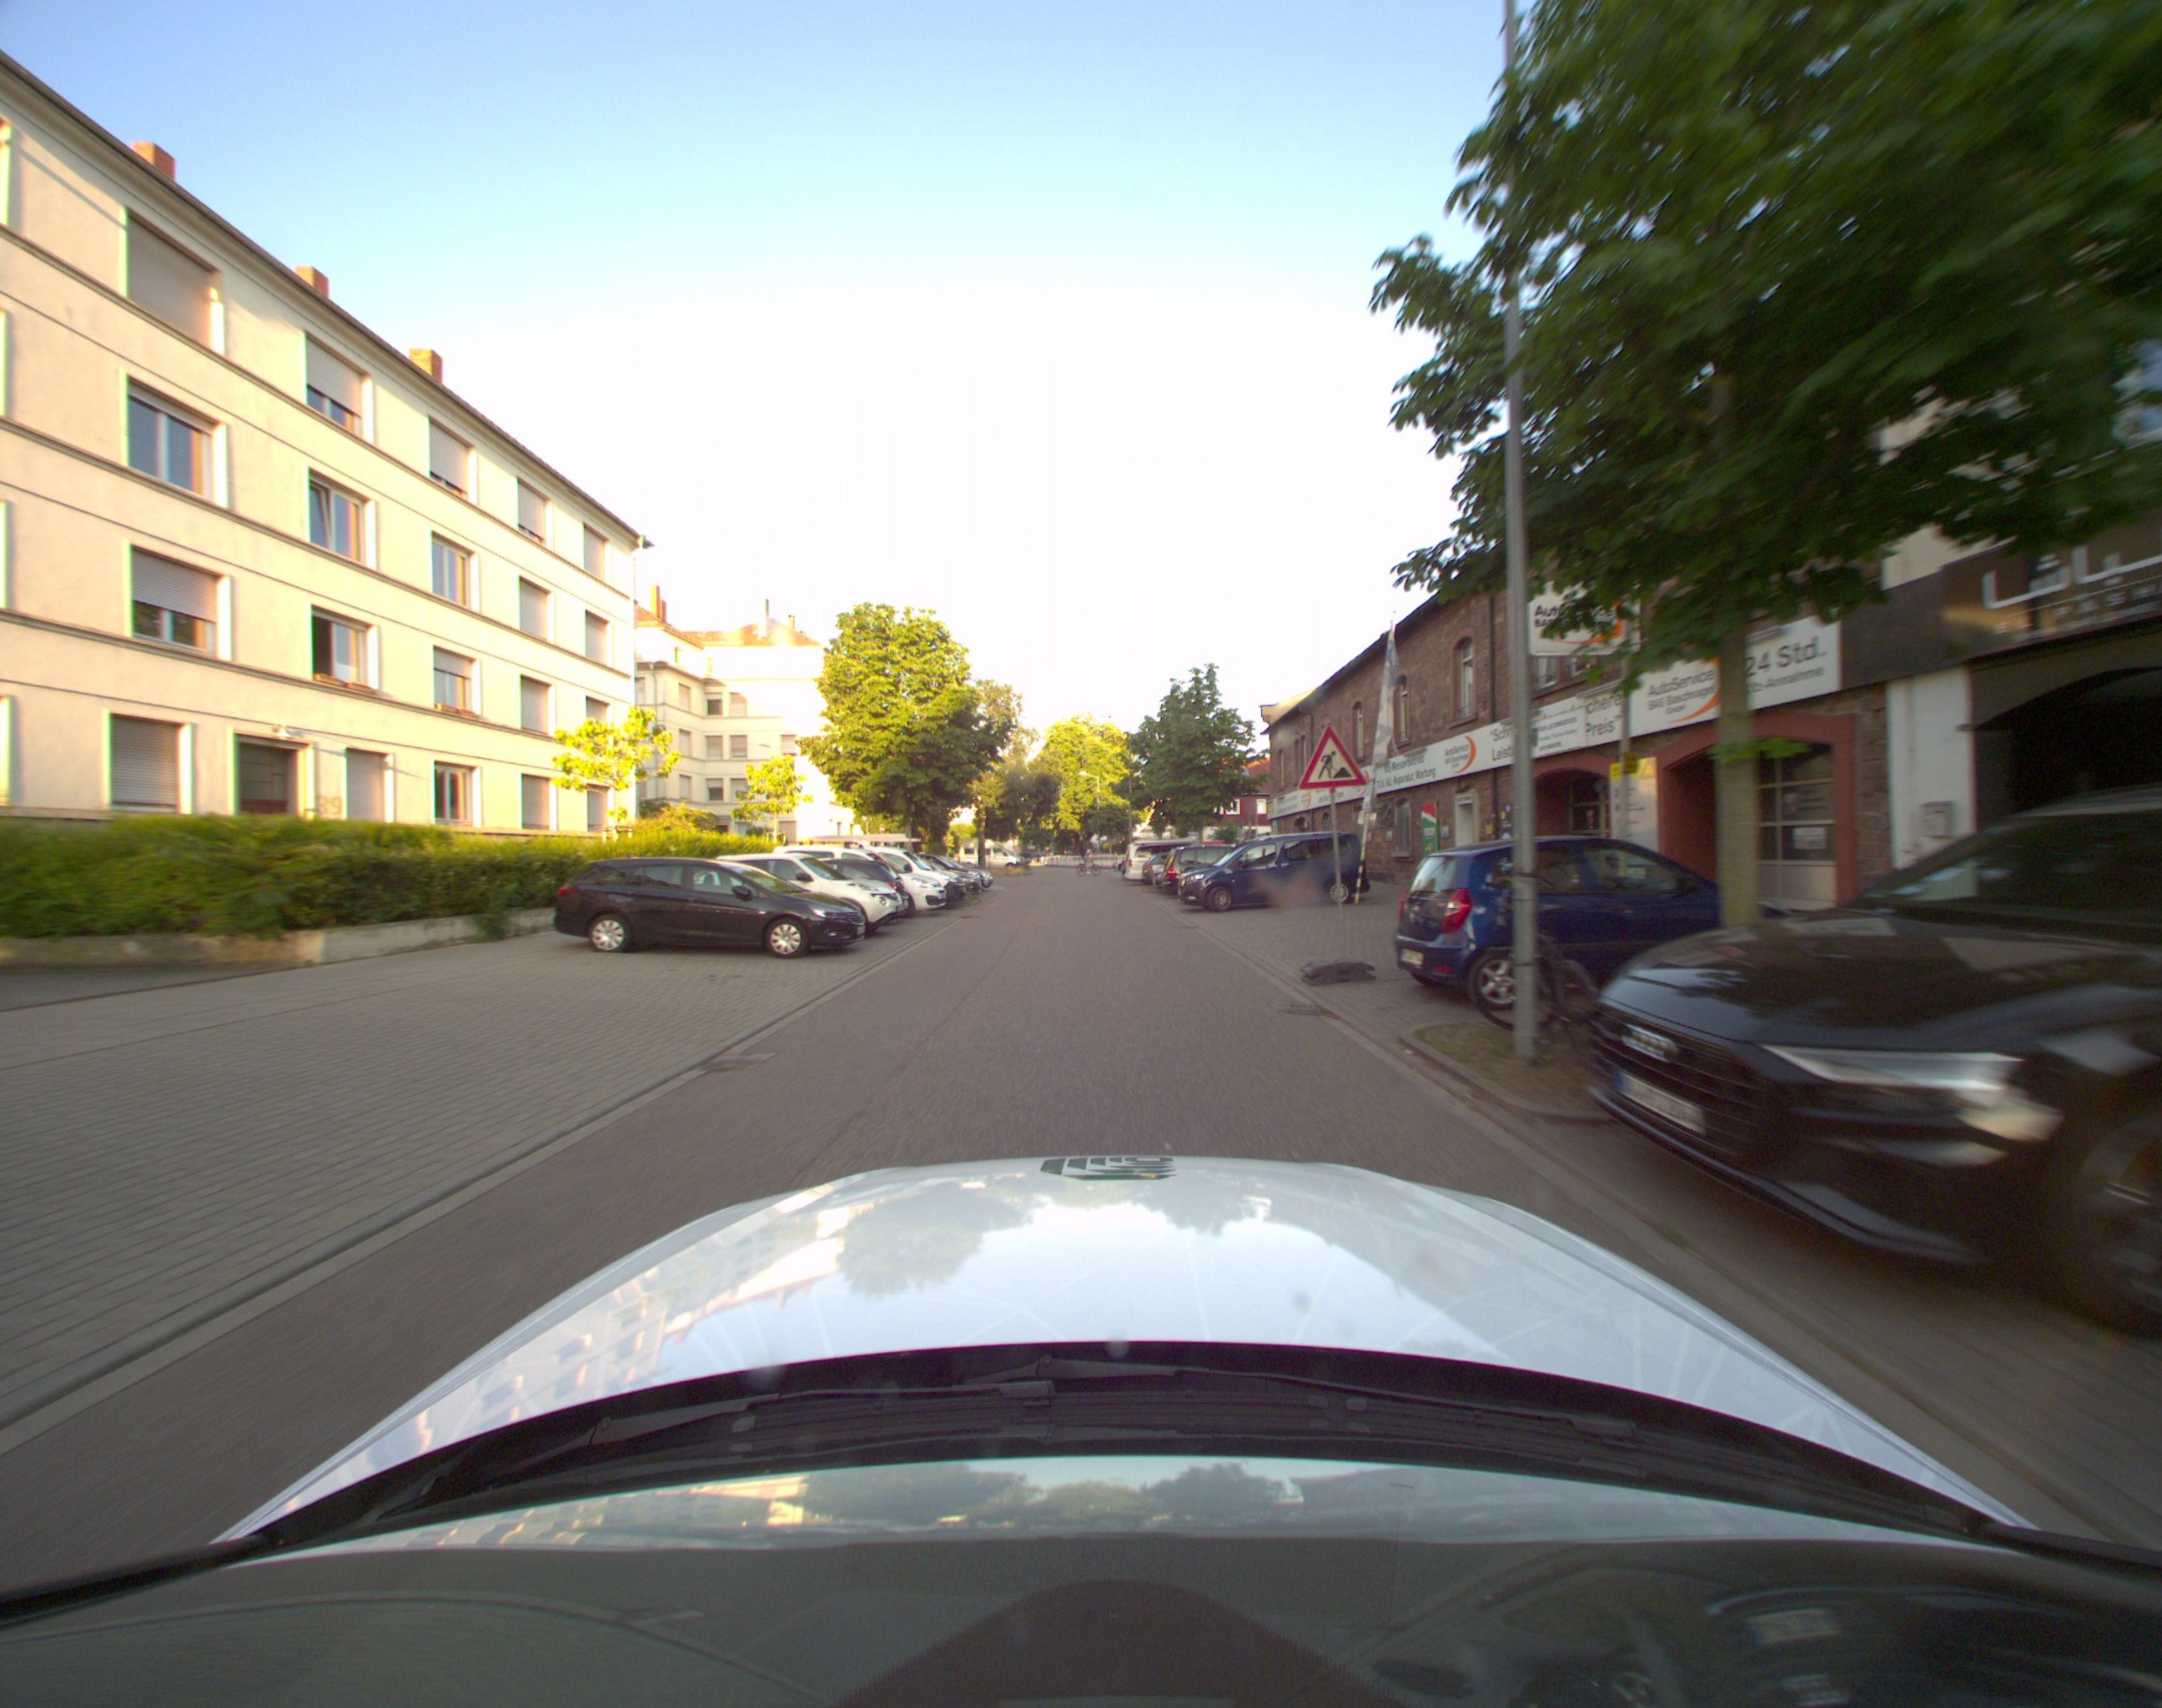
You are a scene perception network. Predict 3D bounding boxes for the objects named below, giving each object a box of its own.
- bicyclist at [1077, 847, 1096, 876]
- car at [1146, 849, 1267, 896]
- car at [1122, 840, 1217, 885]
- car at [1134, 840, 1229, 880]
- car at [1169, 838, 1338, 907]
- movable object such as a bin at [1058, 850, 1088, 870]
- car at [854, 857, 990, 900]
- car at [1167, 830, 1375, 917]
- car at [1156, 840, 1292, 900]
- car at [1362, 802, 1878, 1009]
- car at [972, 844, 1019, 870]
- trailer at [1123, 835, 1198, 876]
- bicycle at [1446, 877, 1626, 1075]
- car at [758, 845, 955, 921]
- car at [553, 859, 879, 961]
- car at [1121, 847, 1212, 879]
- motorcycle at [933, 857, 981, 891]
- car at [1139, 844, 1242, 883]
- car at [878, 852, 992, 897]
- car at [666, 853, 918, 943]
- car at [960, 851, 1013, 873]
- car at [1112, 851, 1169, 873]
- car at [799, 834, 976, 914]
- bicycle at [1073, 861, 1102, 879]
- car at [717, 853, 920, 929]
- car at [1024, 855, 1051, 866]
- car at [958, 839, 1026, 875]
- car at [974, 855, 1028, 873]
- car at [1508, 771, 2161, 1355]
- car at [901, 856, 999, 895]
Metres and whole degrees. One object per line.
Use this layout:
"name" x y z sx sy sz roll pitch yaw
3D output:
"bicyclist" 0.342 0.432 48.819 0.844 1.726 0.792 -1 -1 -36
"car" 4.409 0.641 28.924 3.938 1.565 1.818 -1 0 -4
"car" 3.914 0.368 36.319 3.976 1.904 1.999 -1 0 -2
"car" 4.735 0.297 38.809 4.288 1.799 1.903 -1 0 -1
"car" 4.931 0.496 23.727 4.403 1.574 1.980 -5 1 -2
"movable object such as a bin" -1.095 0.738 104.101 2.633 2.403 5.171 -1 0 -15
"car" -5.498 0.843 28.553 4.310 1.405 1.852 1 0 1
"car" 4.779 0.454 20.991 4.773 1.753 2.016 -5 1 -1
"car" 4.582 0.496 26.454 3.976 1.618 1.894 -4 0 -2
"car" 5.220 0.471 8.333 3.974 1.545 1.845 -5 0 0
"car" -8.290 0.322 78.734 4.499 2.431 1.995 -1 0 -8
"trailer" 4.416 0.102 45.732 3.975 2.187 1.999 -1 0 -1
"bicycle" 3.231 0.784 5.958 0.307 1.192 1.762 -1 0 0
"car" -5.599 0.697 20.726 4.404 1.802 1.944 1 0 2
"car" -5.709 0.857 13.194 4.396 1.452 1.826 1 0 -2
"car" 4.271 0.454 41.112 4.414 1.499 1.773 -1 0 -1
"motorcycle" -5.332 0.849 35.216 1.983 1.436 0.720 -1 -1 -6
"car" 4.440 0.386 33.497 3.975 1.510 1.775 -1 0 -1
"car" -5.487 0.769 30.998 3.972 1.583 1.729 -1 0 1
"car" -5.488 0.805 15.857 4.229 1.621 1.813 0 0 0
"car" -8.571 0.739 73.624 4.670 1.873 1.994 -1 0 -8
"car" 4.338 0.563 59.325 3.963 1.488 1.818 -1 0 9
"car" -5.490 0.525 23.488 4.493 2.070 2.002 2 1 3
"bicycle" 0.373 0.959 48.852 1.872 0.998 0.370 -1 -1 -35
"car" -5.823 0.809 18.430 3.975 1.484 1.755 2 0 -1
"car" -7.009 0.988 130.466 4.001 1.651 1.752 -1 0 -21
"car" -6.479 0.216 59.594 4.716 2.569 2.000 -1 0 0
"car" -6.426 0.792 65.914 4.233 1.394 1.683 0 -1 -3
"car" 4.668 0.472 3.354 4.677 1.631 2.001 -5 0 2
"car" -5.326 0.871 33.376 3.700 1.506 1.690 -1 0 1
